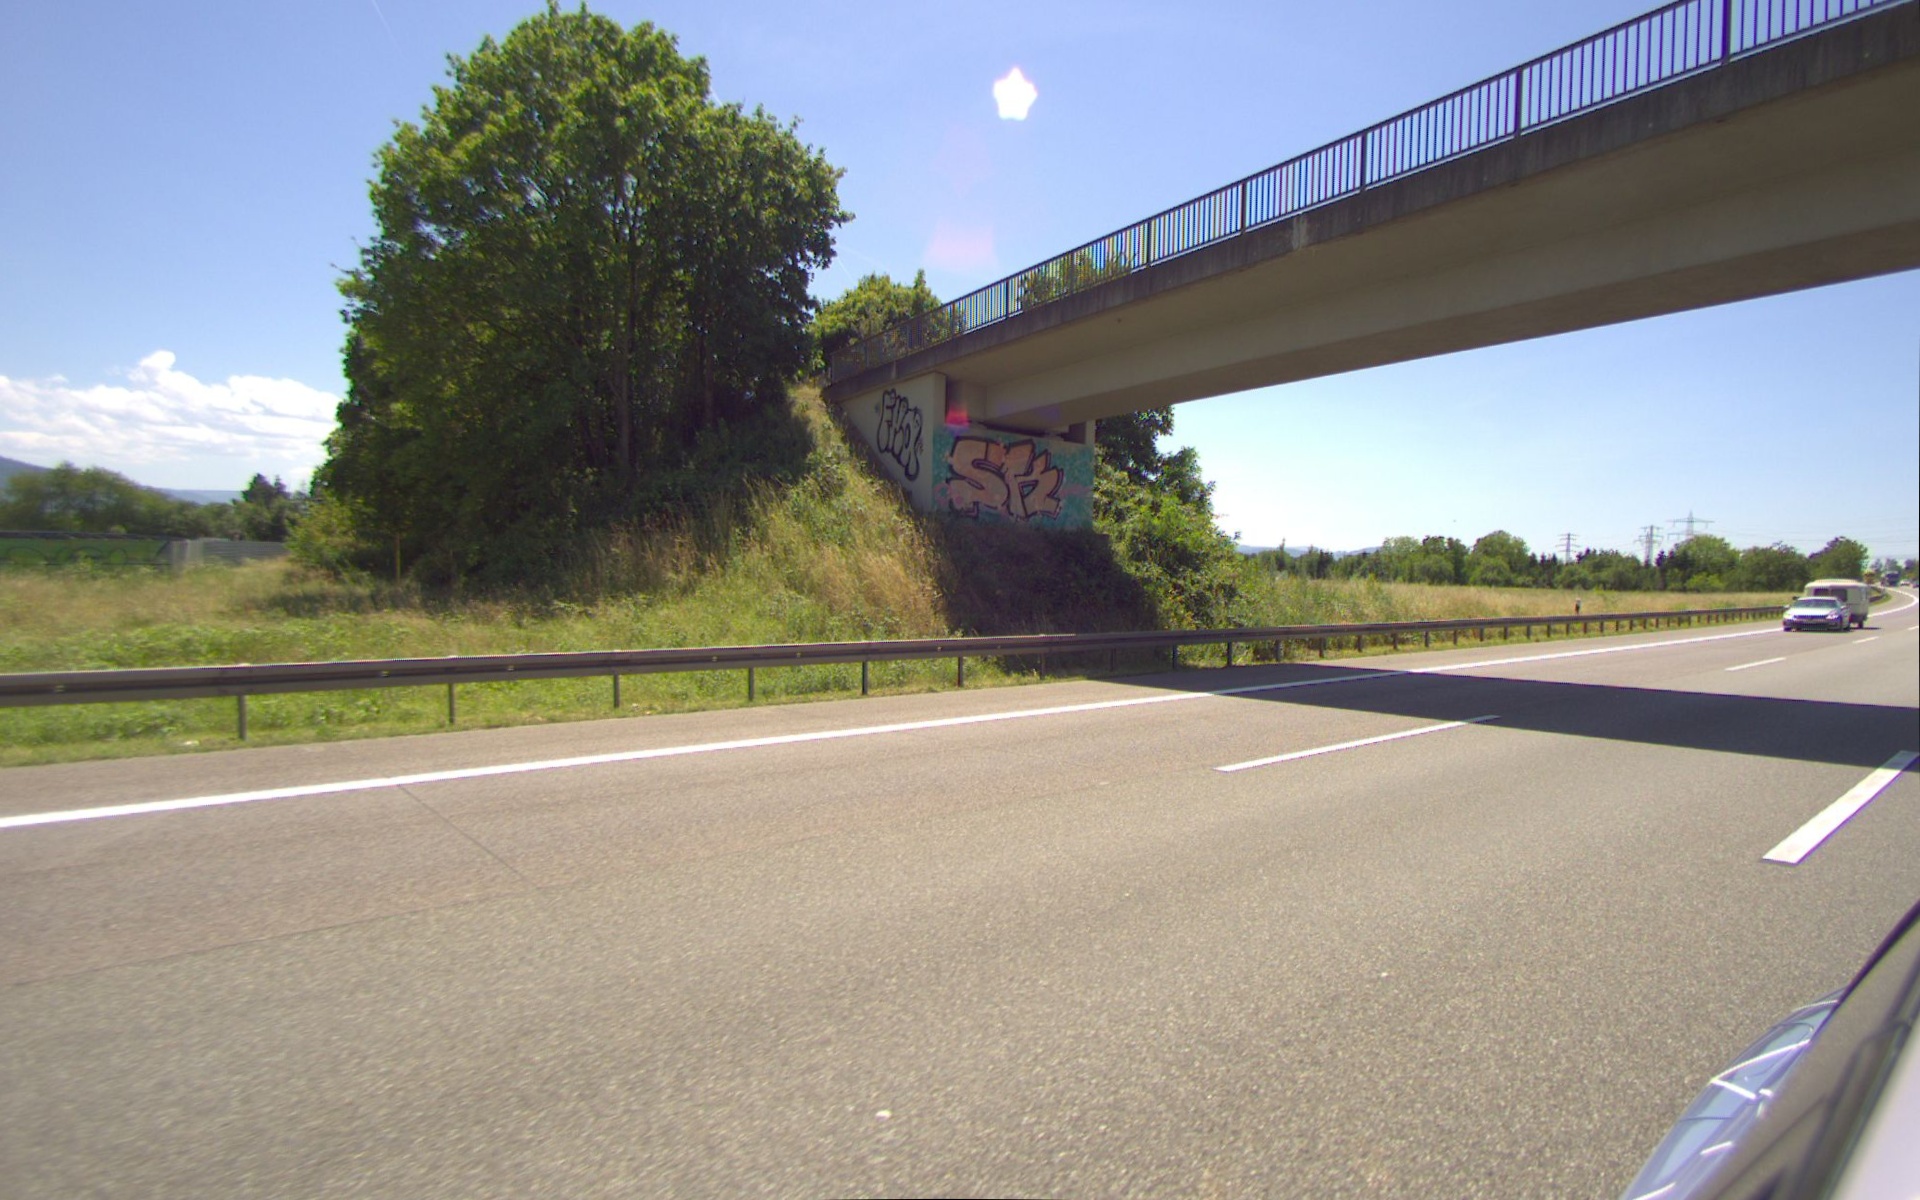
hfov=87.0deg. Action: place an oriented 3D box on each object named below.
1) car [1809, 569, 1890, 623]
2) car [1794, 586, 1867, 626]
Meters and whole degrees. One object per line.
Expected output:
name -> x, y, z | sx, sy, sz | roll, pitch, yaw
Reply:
car -> 40.519, -0.234, 46.071 | 4.867, 2.294, 2.186 | -1, 2, -42
car -> 35.820, 0.202, 41.611 | 3.932, 1.494, 1.782 | -1, 2, -42
